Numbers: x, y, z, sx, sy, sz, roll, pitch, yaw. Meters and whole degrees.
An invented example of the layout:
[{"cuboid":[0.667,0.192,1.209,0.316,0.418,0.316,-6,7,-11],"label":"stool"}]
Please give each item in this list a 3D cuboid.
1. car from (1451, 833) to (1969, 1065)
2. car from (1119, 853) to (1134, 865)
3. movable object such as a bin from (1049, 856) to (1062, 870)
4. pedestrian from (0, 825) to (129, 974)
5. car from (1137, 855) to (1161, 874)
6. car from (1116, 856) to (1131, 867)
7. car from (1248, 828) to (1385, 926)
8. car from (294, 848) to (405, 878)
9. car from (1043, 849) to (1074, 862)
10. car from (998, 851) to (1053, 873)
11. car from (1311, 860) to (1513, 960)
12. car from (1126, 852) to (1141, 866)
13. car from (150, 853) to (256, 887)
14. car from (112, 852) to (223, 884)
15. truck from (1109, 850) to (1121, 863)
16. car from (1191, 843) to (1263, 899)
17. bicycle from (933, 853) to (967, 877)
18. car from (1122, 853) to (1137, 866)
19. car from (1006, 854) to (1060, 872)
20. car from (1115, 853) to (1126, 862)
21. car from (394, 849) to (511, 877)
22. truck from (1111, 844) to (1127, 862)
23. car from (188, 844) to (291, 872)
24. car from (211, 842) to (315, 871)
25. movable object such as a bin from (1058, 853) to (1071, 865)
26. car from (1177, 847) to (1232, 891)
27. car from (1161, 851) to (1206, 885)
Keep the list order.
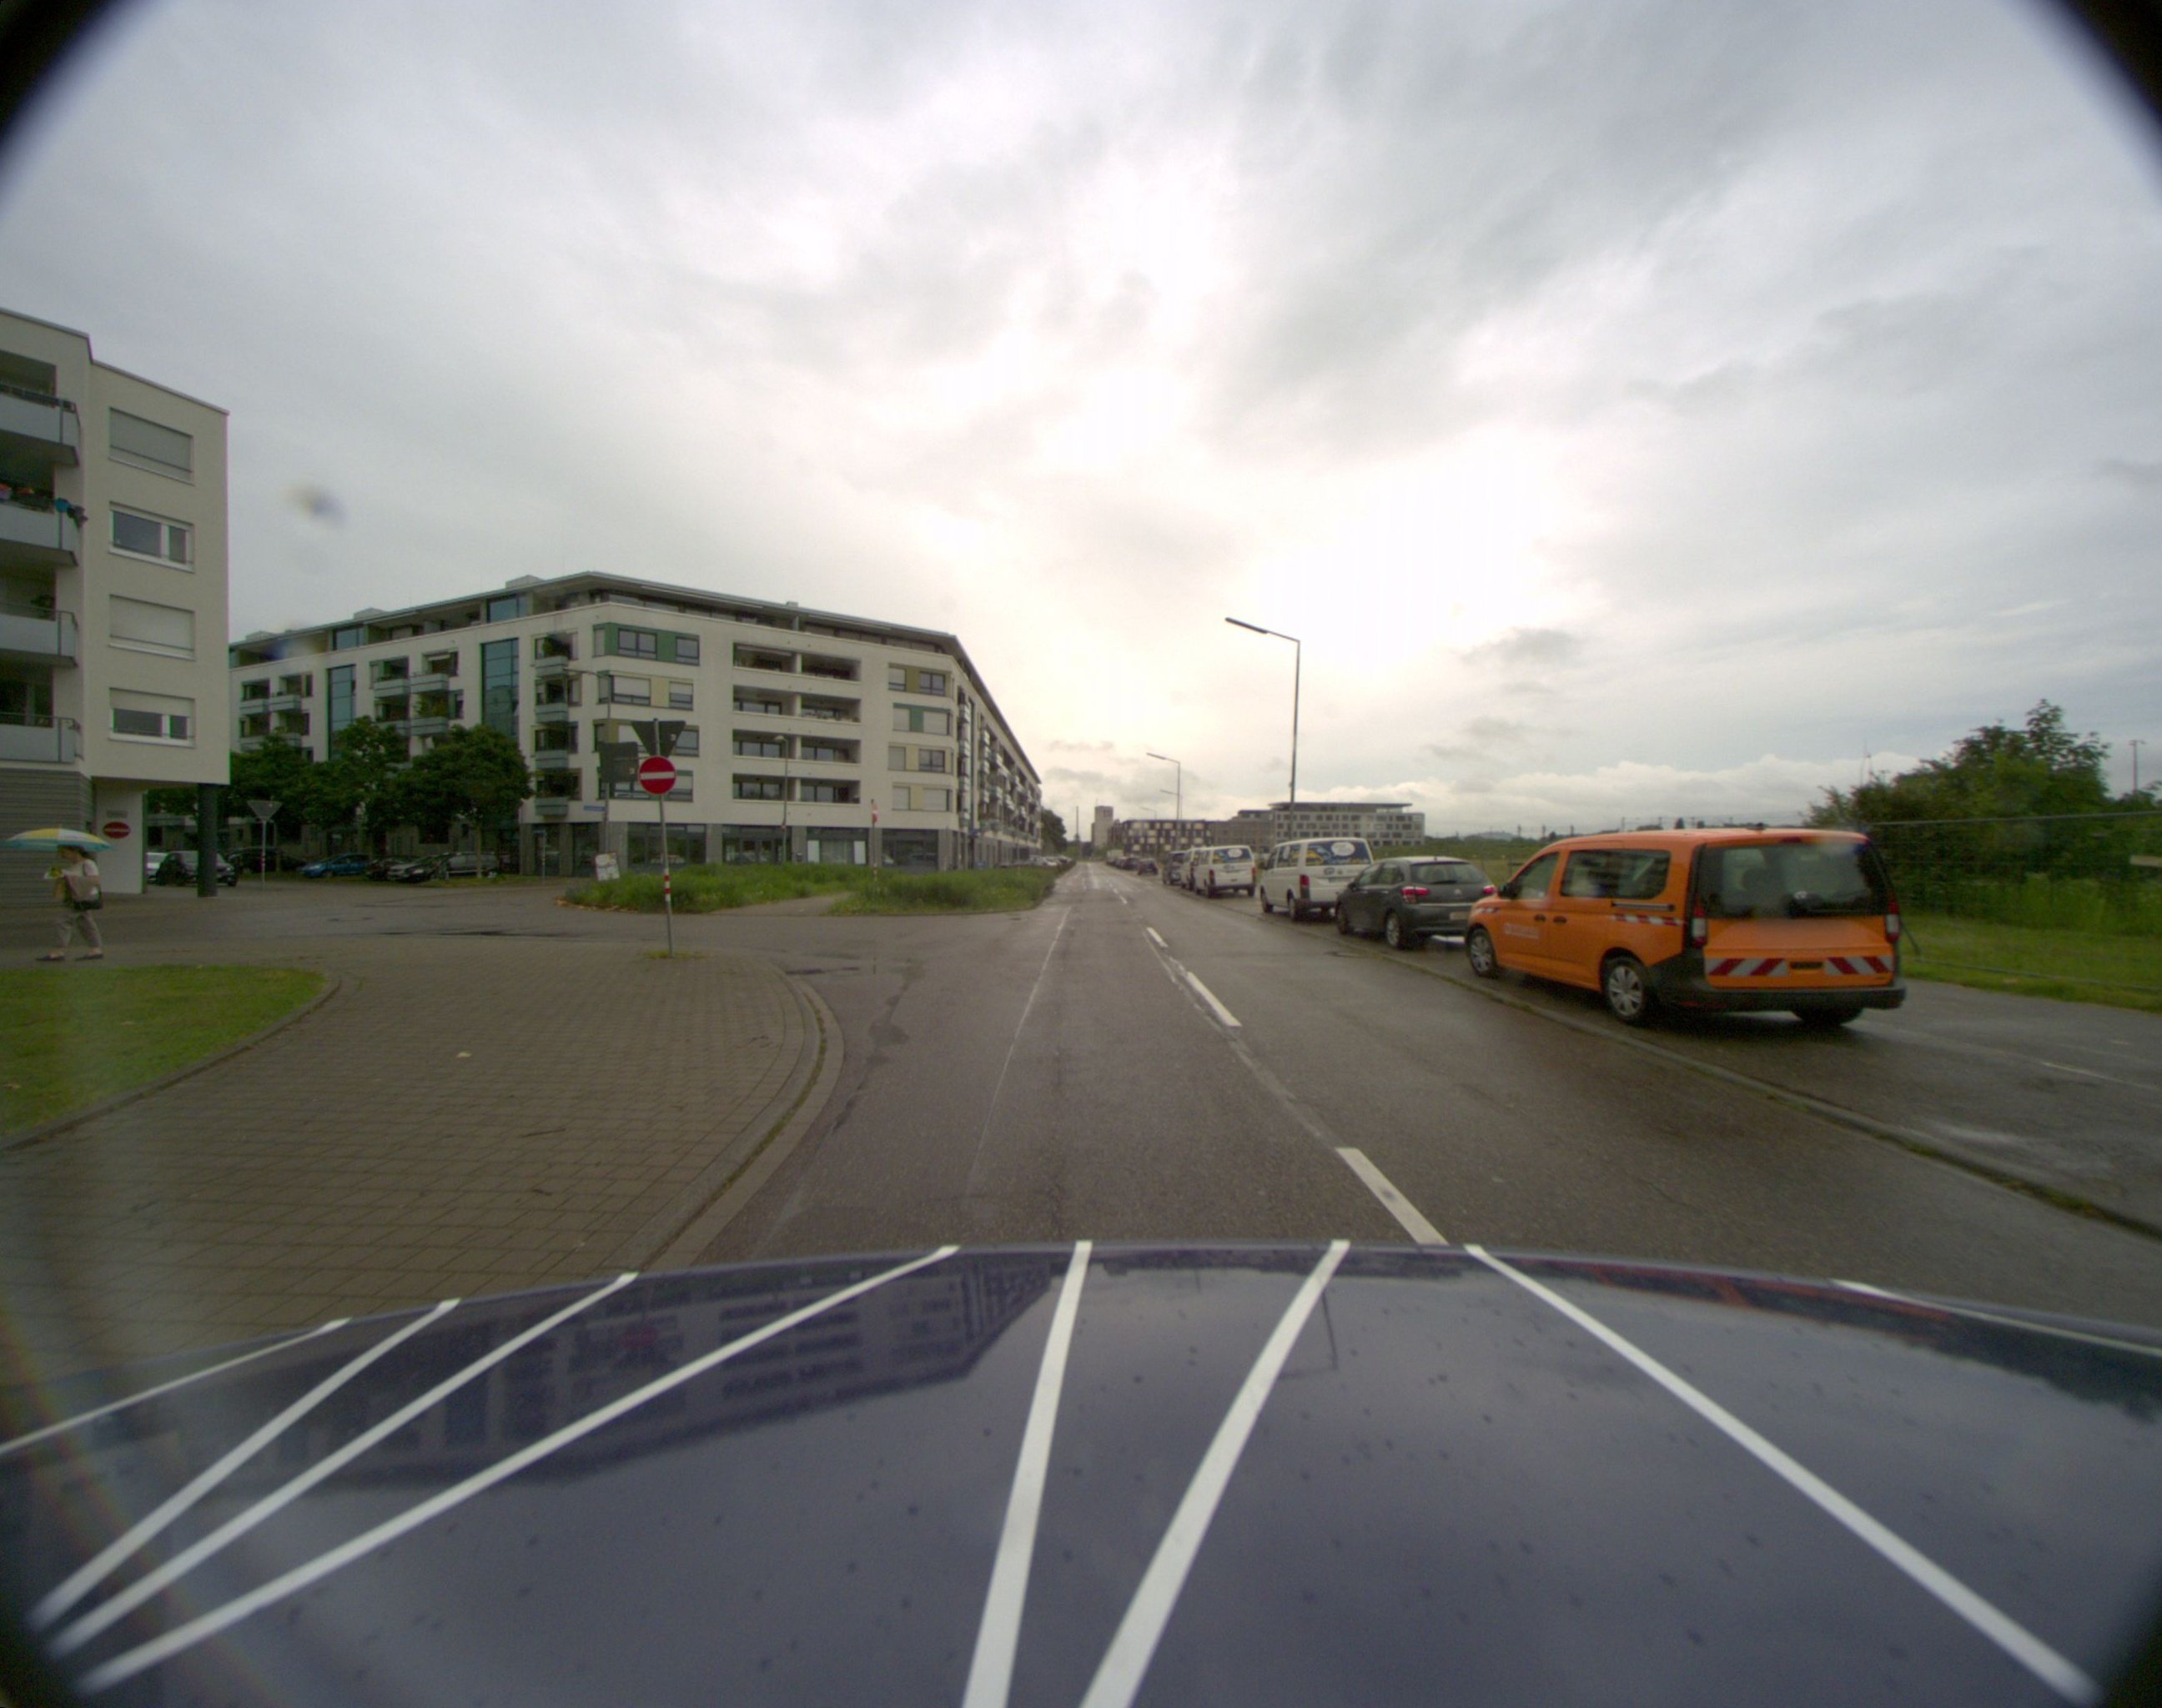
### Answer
[{"cuboid":[5.819,0.715,7.943,1.944,1.757,4.331,0,0,2],"label":"car"},{"cuboid":[6.404,0.651,107.650,1.842,1.520,4.670,-2,1,1],"label":"car"},{"cuboid":[-2.716,0.952,80.332,1.303,1.517,1.582,0,0,1],"label":"movable object such as a bin"},{"cuboid":[-14.110,0.616,10.553,0.967,2.002,0.622,0,0,1],"label":"pedestrian"},{"cuboid":[6.119,0.928,68.806,1.852,1.552,4.152,-3,0,1],"label":"car"},{"cuboid":[6.410,1.111,114.753,1.857,1.598,4.988,-3,0,0],"label":"car"},{"cuboid":[6.006,0.530,20.194,1.947,2.223,5.557,0,0,0],"label":"car"},{"cuboid":[-42.995,0.494,44.786,1.736,1.641,4.358,0,1,28],"label":"car"},{"cuboid":[-3.668,0.250,124.735,5.062,1.917,1.982,2,0,0],"label":"car"},{"cuboid":[-4.342,0.616,59.816,4.100,1.614,1.966,2,1,-1],"label":"car"},{"cuboid":[5.888,0.890,14.261,1.688,1.493,4.891,0,0,0],"label":"car"},{"cuboid":[6.257,0.578,90.499,1.756,1.683,4.882,0,0,3],"label":"car"},{"cuboid":[-38.716,0.681,33.517,3.817,1.407,2.003,0,0,23],"label":"car"},{"cuboid":[-42.675,0.612,35.492,4.455,1.423,2.003,0,0,22],"label":"car"},{"cuboid":[6.843,0.446,155.164,2.180,2.591,6.131,-1,0,0],"label":"truck"},{"cuboid":[5.823,0.647,30.966,1.964,2.046,5.274,-1,0,1],"label":"car"},{"cuboid":[-8.541,0.681,49.602,2.189,1.514,0.631,1,1,21],"label":"bicycle"},{"cuboid":[6.452,0.732,101.974,1.730,1.566,4.209,0,1,-1],"label":"car"},{"cuboid":[-4.068,0.758,64.713,4.420,1.397,1.910,2,1,0],"label":"car"},{"cuboid":[6.658,0.547,127.256,1.676,1.454,4.156,0,0,1],"label":"car"},{"cuboid":[-33.848,0.427,41.078,1.809,1.424,4.531,0,0,23],"label":"car"},{"cuboid":[6.641,-0.247,135.053,2.442,3.050,6.699,-1,0,0],"label":"truck"},{"cuboid":[-54.686,0.220,49.488,1.809,1.744,4.110,0,1,23],"label":"car"},{"cuboid":[-51.581,0.158,48.005,1.809,1.744,4.110,0,1,23],"label":"car"},{"cuboid":[-2.079,0.675,96.552,1.499,1.484,1.155,3,1,1],"label":"movable object such as a bin"},{"cuboid":[5.941,0.677,37.134,1.899,2.002,5.258,0,0,1],"label":"car"},{"cuboid":[5.899,0.763,44.319,1.961,1.890,4.995,-1,0,1],"label":"car"}]
